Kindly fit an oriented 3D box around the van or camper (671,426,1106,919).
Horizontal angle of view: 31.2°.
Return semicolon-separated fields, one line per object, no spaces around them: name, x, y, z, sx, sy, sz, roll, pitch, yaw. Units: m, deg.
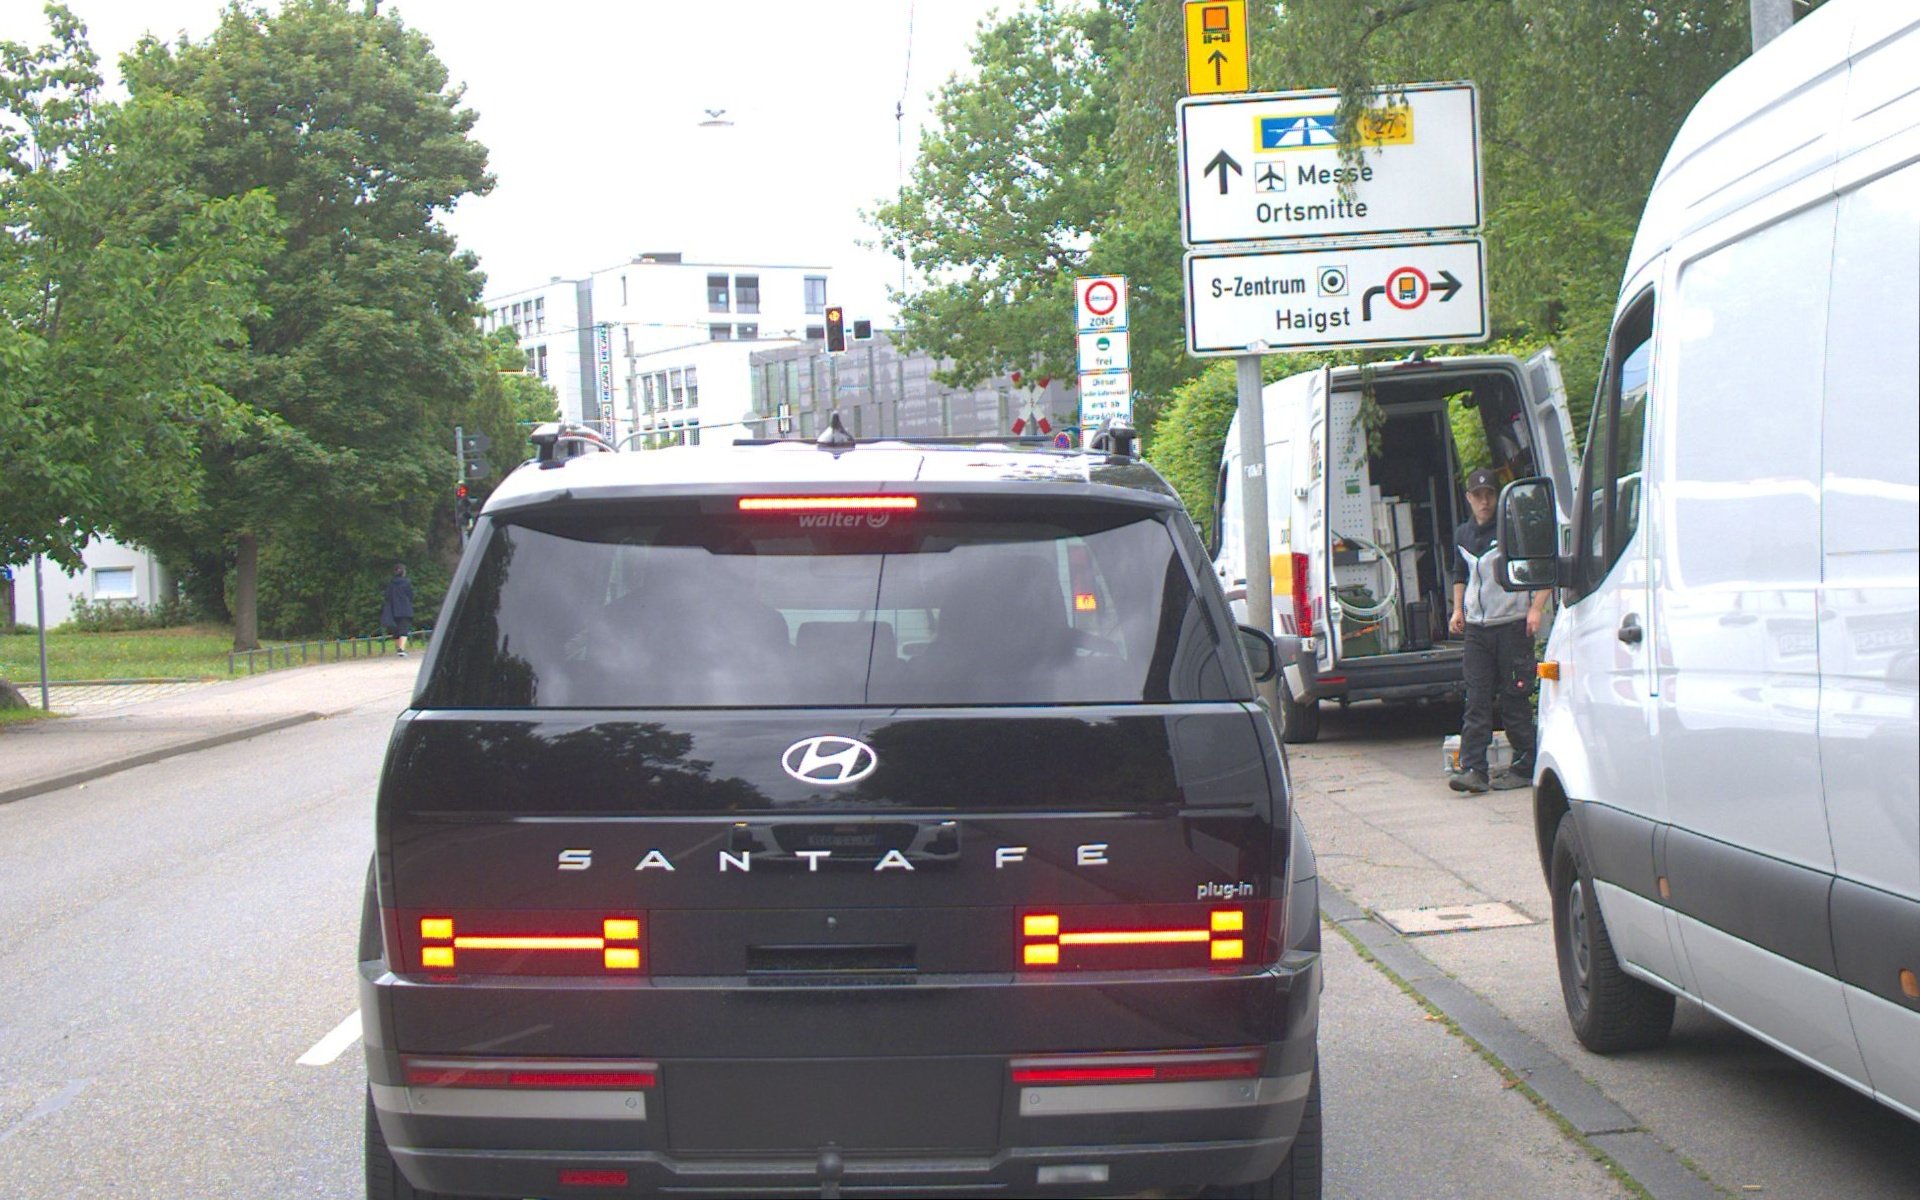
van or camper;-0.321;0.273;16.369;1.754;2.007;4.000;-2;1;-1

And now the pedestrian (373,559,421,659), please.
pedestrian;-9.837;0.148;60.060;0.738;1.709;0.793;-2;1;-7

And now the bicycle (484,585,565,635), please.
bicycle;-9.881;0.219;77.995;1.773;1.089;0.697;1;0;31

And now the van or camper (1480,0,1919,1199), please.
van or camper;2.627;-0.048;7.013;1.993;2.611;6.541;-2;1;-1

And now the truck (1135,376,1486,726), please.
truck;2.805;-0.393;28.780;1.942;2.553;5.217;-3;1;-4

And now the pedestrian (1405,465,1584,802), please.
pedestrian;2.937;0.175;18.842;0.758;1.791;0.872;-2;1;20

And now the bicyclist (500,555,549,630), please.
bicyclist;-9.875;-0.168;77.997;0.829;1.685;0.717;1;0;31

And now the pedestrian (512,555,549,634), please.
pedestrian;-9.436;-0.126;75.552;0.738;1.709;0.793;-2;1;-7

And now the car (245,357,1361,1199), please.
car;-0.287;0.468;7.849;1.889;1.813;4.000;0;1;-1
